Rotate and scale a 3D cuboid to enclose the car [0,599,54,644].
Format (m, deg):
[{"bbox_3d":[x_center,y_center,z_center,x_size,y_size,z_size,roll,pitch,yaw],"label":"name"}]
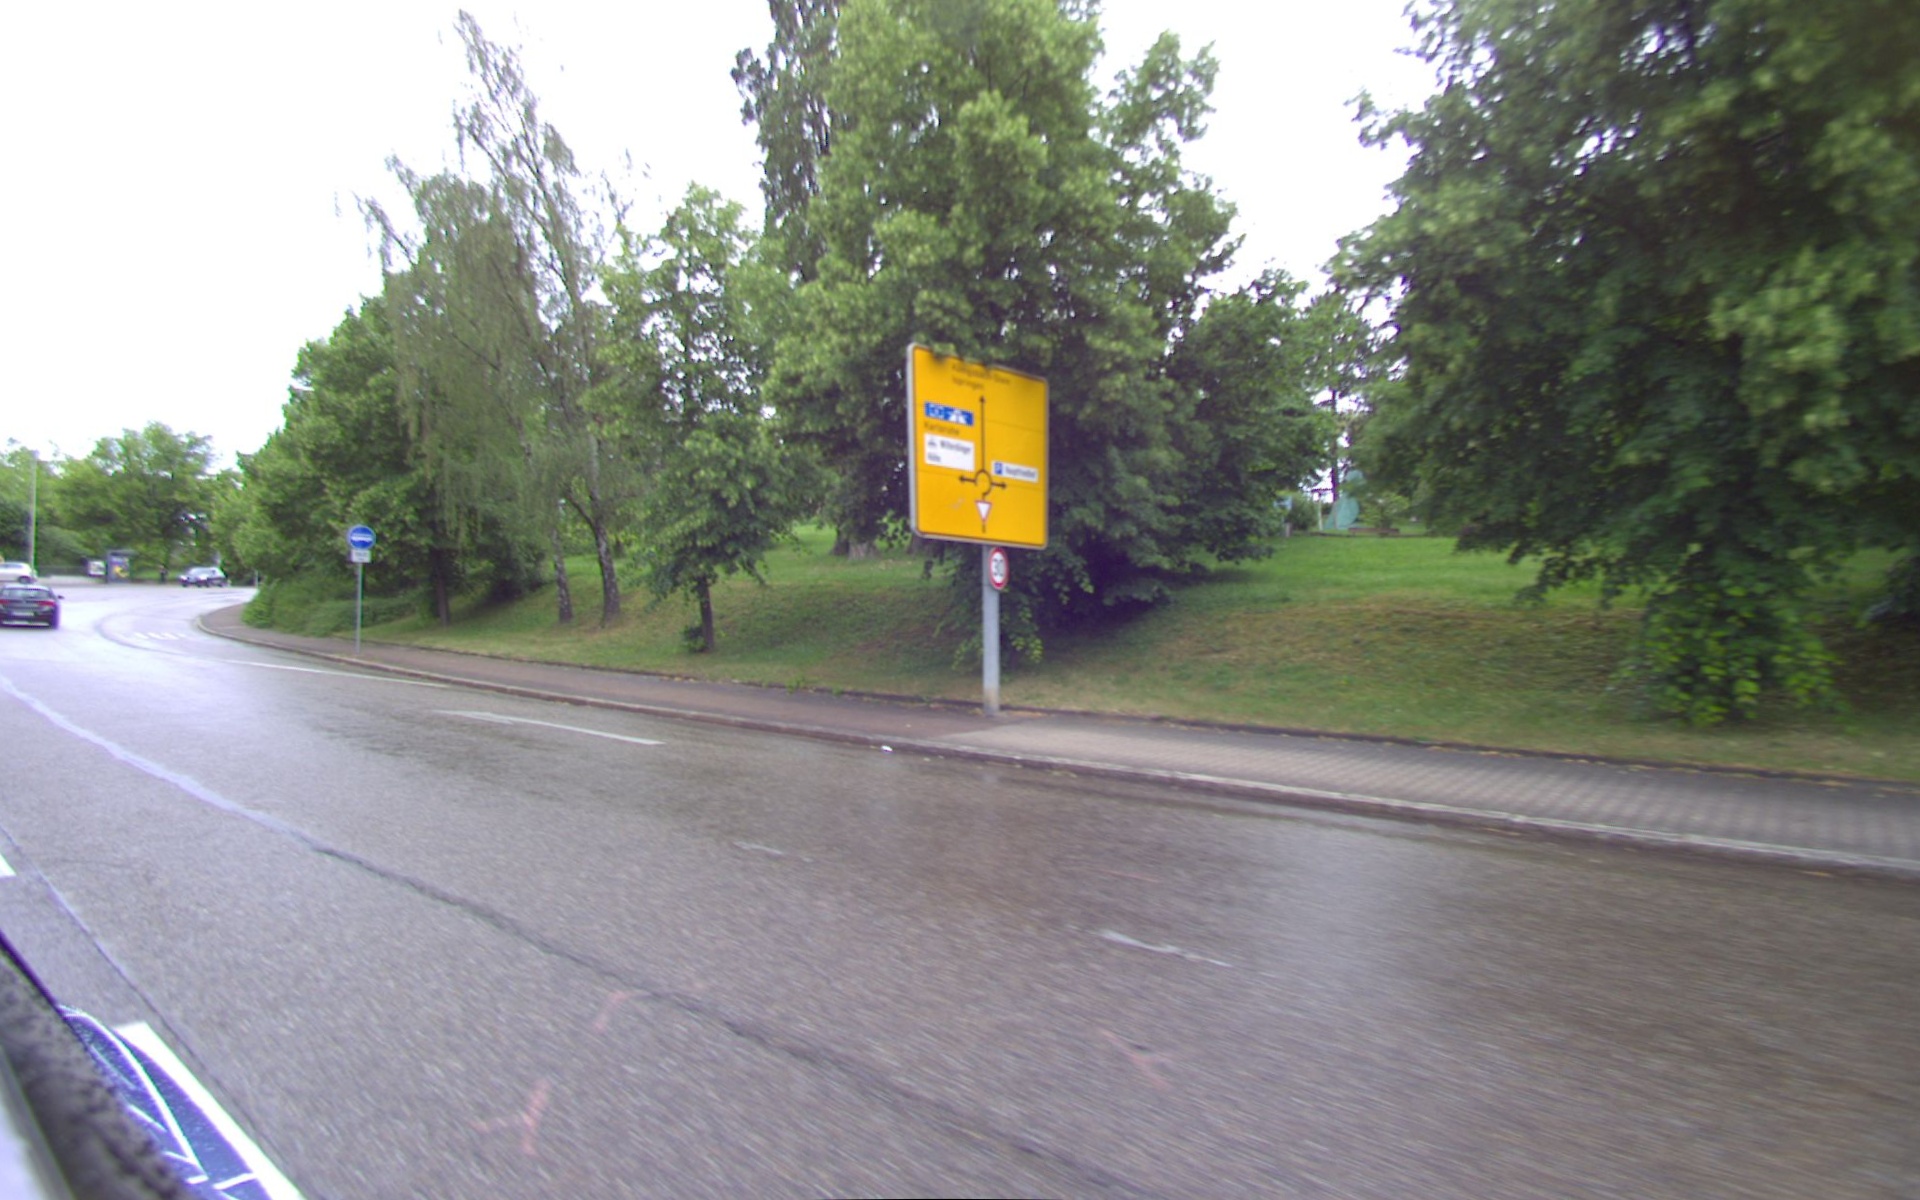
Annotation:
[{"bbox_3d":[-31.812,0.729,34.160,1.701,1.394,4.143,4,-3,-43],"label":"car"}]

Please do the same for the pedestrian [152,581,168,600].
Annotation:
[{"bbox_3d":[-71.812,-0.858,90.839,0.912,1.667,1.101,2,-1,-27],"label":"pedestrian"}]

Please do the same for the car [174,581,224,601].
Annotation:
[{"bbox_3d":[-62.711,-0.711,83.485,1.832,1.425,4.398,1,-2,-16],"label":"car"}]

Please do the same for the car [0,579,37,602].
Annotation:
[{"bbox_3d":[-70.981,-0.760,74.822,3.807,1.578,1.731,4,-3,-37],"label":"car"}]

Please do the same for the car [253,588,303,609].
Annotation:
[{"bbox_3d":[-55.180,-0.138,81.993,1.786,1.588,4.699,2,0,-14],"label":"car"}]
